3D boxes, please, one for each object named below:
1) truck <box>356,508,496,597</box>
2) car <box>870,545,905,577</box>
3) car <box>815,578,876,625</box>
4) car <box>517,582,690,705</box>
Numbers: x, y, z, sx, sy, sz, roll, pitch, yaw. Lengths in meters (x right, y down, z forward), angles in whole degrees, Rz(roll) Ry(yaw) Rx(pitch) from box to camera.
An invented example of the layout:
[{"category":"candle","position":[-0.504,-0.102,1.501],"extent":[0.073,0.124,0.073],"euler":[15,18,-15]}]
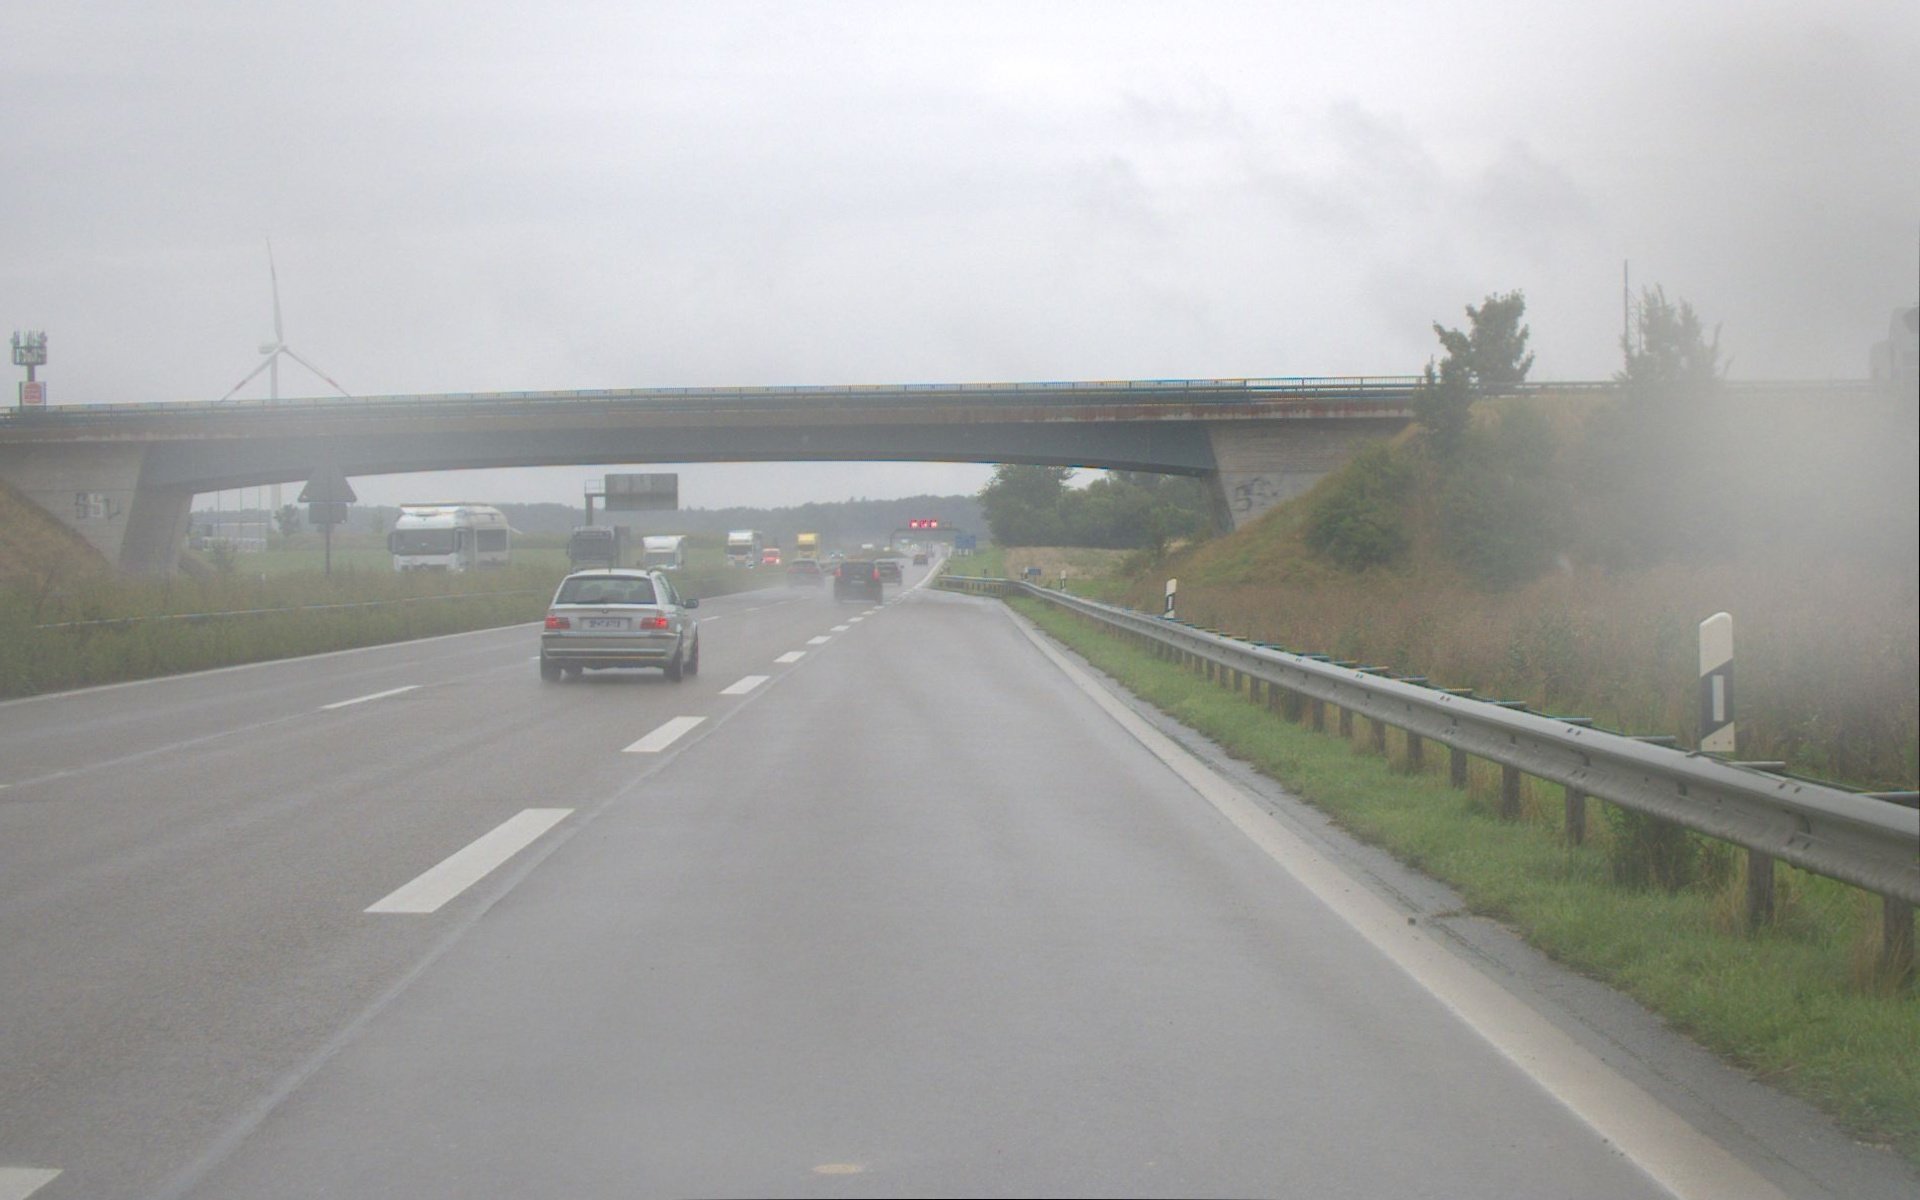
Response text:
[{"category":"truck","position":[-21.263,-1.913,137.551],"extent":[2.992,3.364,11.048],"euler":[0,1,5]},{"category":"car","position":[-4.322,-2.322,205.336],"extent":[1.993,1.691,4.001],"euler":[-2,3,-1]},{"category":"car","position":[-4.177,0.060,126.432],"extent":[2.145,1.630,4.595],"euler":[1,0,-1]},{"category":"car","position":[-4.512,0.513,44.098],"extent":[1.874,1.483,4.796],"euler":[0,0,-2]}]
